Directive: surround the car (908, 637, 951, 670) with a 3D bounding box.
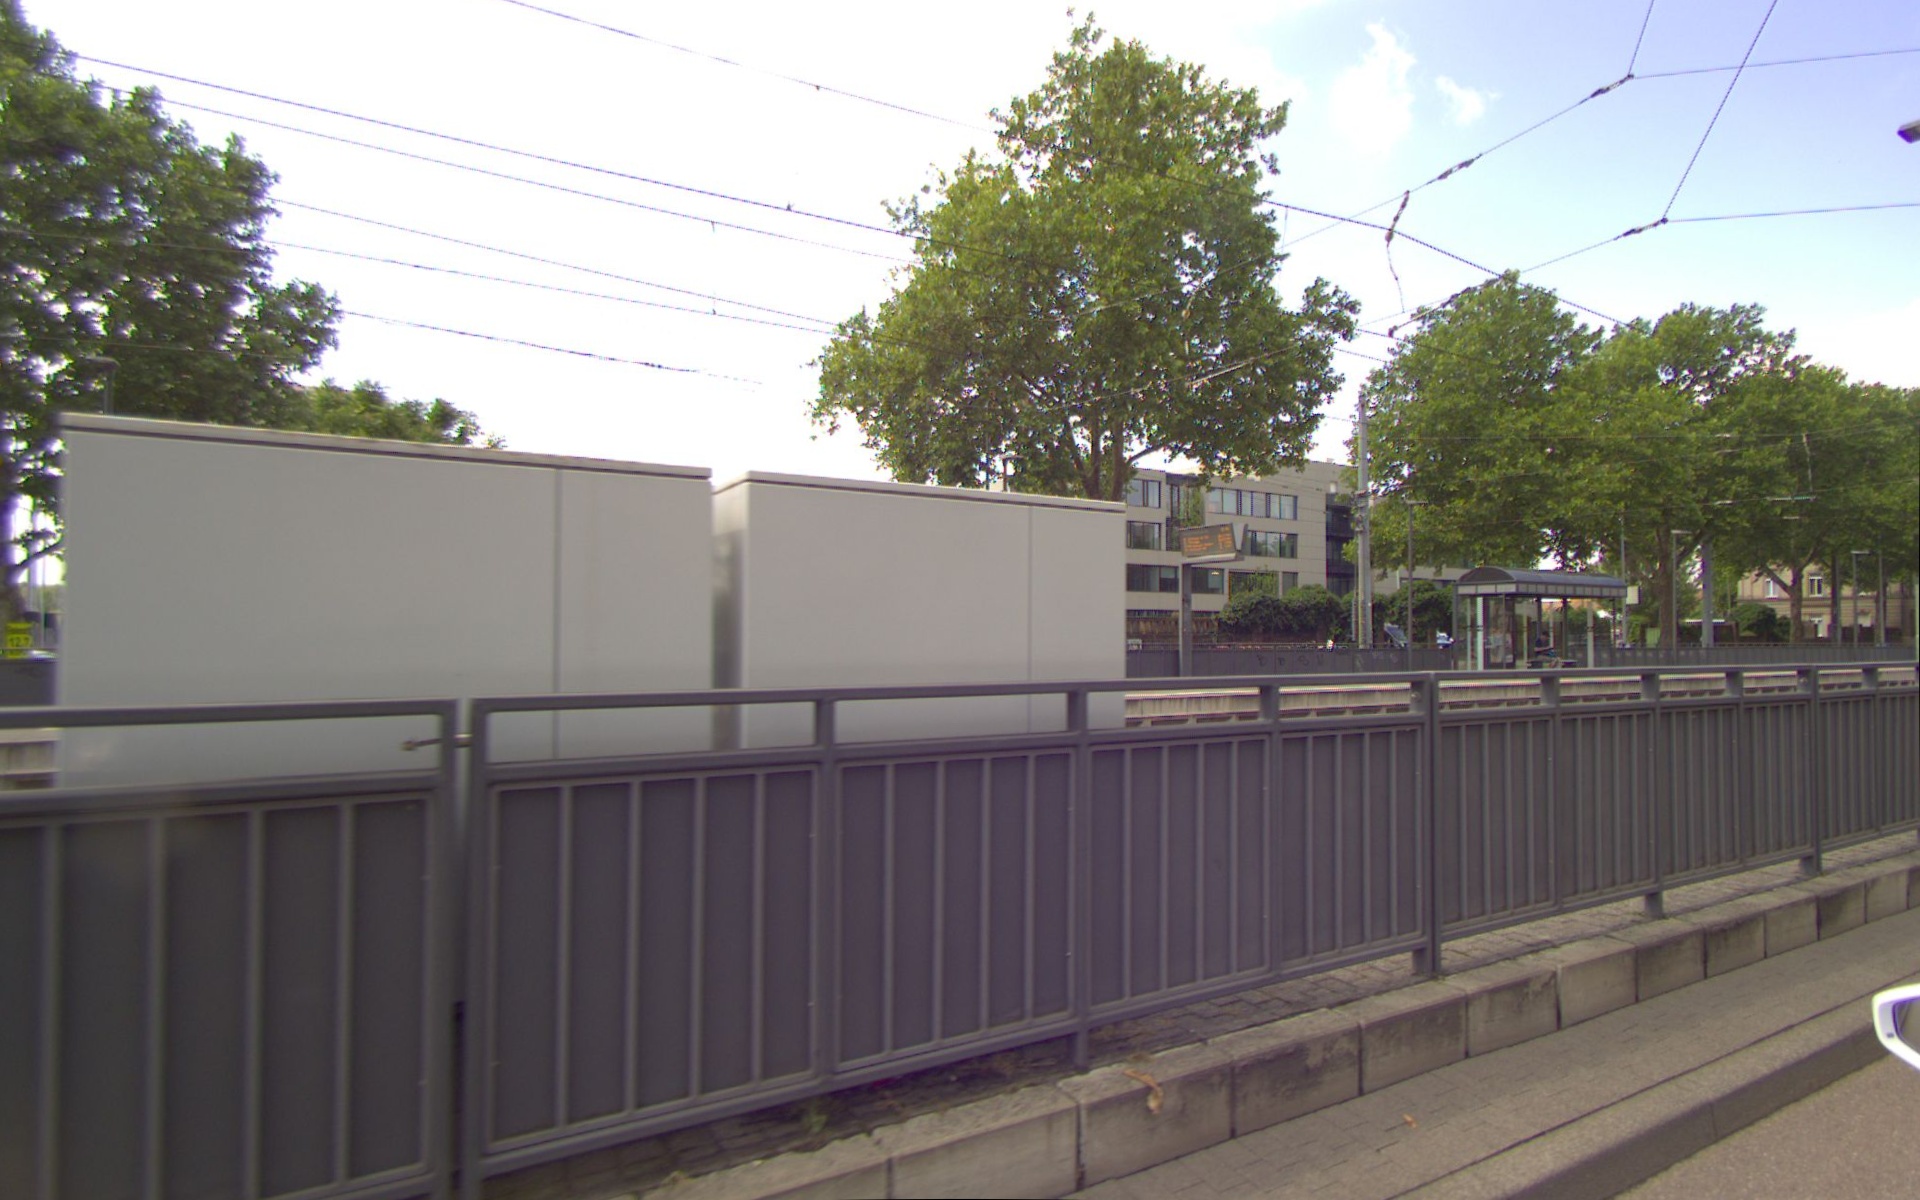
[{"bbox_3d":[-1.891,3.380,64.060,1.959,2.040,4.003,-1,-2,10],"label":"car"}]

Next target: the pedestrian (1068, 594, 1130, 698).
[{"bbox_3d":[2.590,0.842,18.727,0.855,1.869,0.702,-1,0,-31],"label":"pedestrian"}]

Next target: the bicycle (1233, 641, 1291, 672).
[{"bbox_3d":[13.463,2.510,44.943,0.626,1.183,3.029,1,1,-25],"label":"bicycle"}]

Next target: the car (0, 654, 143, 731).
[{"bbox_3d":[-20.250,2.001,21.787,3.606,1.554,1.685,0,-2,-27],"label":"car"}]

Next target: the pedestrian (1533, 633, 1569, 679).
[{"bbox_3d":[16.945,1.595,28.789,0.758,1.286,0.550,1,-2,-29],"label":"pedestrian"}]

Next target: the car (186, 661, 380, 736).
[{"bbox_3d":[-15.860,2.271,23.753,3.606,1.554,1.685,0,-2,-27],"label":"car"}]
